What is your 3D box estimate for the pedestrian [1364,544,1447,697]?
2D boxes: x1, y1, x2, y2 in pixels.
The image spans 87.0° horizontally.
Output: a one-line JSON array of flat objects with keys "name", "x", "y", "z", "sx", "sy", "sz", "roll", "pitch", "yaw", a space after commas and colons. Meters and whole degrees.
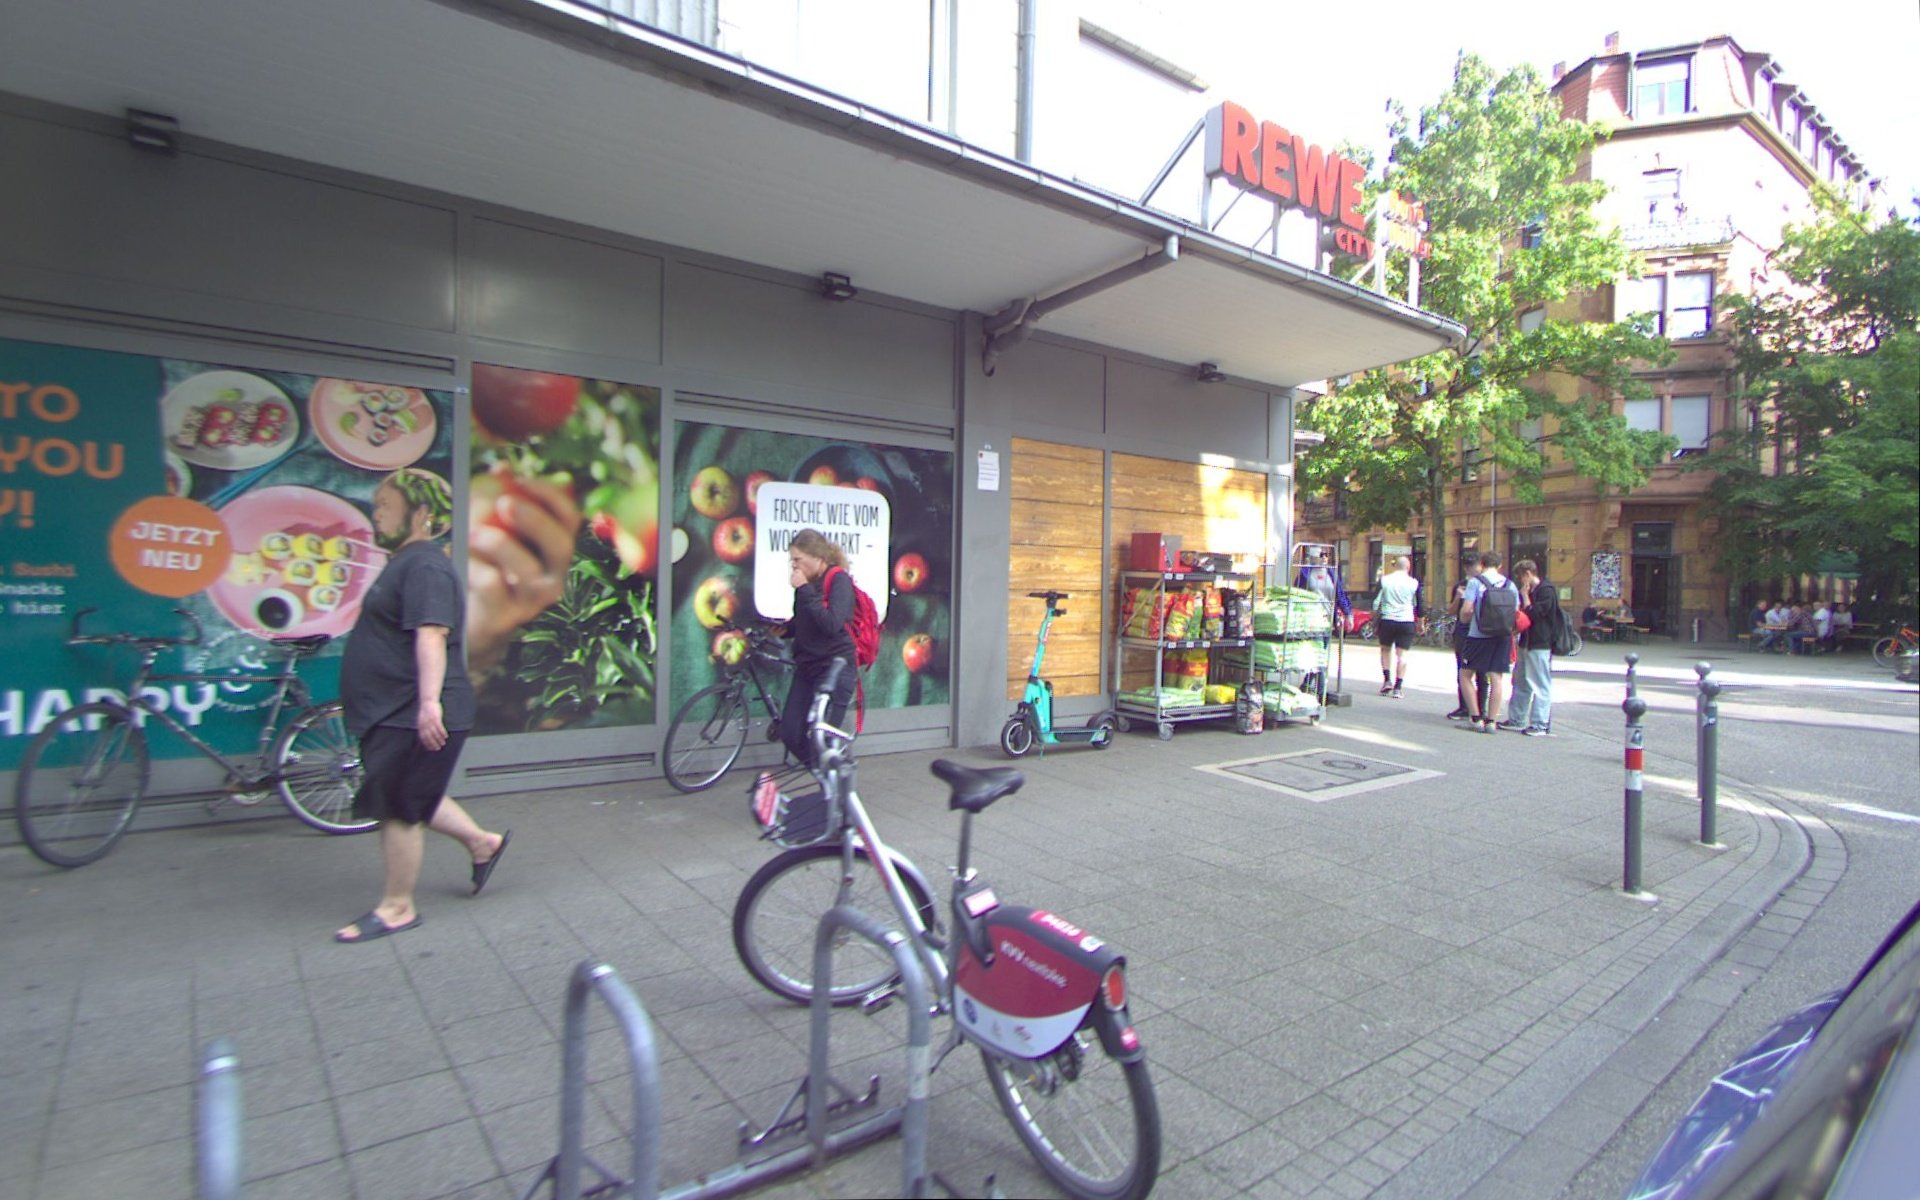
[{"name": "pedestrian", "x": 5.764, "y": 0.229, "z": 13.133, "sx": 0.877, "sy": 1.857, "sz": 1.039, "roll": 3, "pitch": 2, "yaw": 23}]

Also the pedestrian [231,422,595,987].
[{"name": "pedestrian", "x": -2.065, "y": 0.310, "z": 3.810, "sx": 1.030, "sy": 1.768, "sz": 0.851, "roll": 1, "pitch": 2, "yaw": -39}]

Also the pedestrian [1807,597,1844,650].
[{"name": "pedestrian", "x": 22.656, "y": 0.604, "z": 26.498, "sx": 0.726, "sy": 1.332, "sz": 0.599, "roll": 1, "pitch": 0, "yaw": 41}]

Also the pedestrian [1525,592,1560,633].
[{"name": "pedestrian", "x": 18.811, "y": 0.398, "z": 32.694, "sx": 0.753, "sy": 1.301, "sz": 0.630, "roll": -1, "pitch": 0, "yaw": -14}]

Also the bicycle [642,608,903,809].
[{"name": "bicycle", "x": -1.145, "y": 0.613, "z": 6.549, "sx": 0.673, "sy": 1.056, "sz": 1.714, "roll": 1, "pitch": 2, "yaw": 33}]

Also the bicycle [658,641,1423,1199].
[{"name": "bicycle", "x": 0.030, "y": 0.772, "z": 2.628, "sx": 0.891, "sy": 1.139, "sz": 1.888, "roll": 1, "pitch": 3, "yaw": -39}]

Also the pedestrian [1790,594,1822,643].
[{"name": "pedestrian", "x": 23.480, "y": 0.516, "z": 28.096, "sx": 0.544, "sy": 1.317, "sz": 0.615, "roll": 1, "pitch": 1, "yaw": 29}]

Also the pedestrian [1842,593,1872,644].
[{"name": "pedestrian", "x": 24.624, "y": 0.495, "z": 27.795, "sx": 0.463, "sy": 1.343, "sz": 0.615, "roll": 1, "pitch": 1, "yaw": 29}]

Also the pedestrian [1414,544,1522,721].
[{"name": "pedestrian", "x": 5.442, "y": 0.337, "z": 10.857, "sx": 0.645, "sy": 1.819, "sz": 0.657, "roll": 3, "pitch": 2, "yaw": -24}]

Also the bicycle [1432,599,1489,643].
[{"name": "bicycle", "x": 14.500, "y": 0.589, "z": 29.323, "sx": 1.676, "sy": 1.216, "sz": 0.449, "roll": -1, "pitch": 1, "yaw": -20}]

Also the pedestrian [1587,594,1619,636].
[{"name": "pedestrian", "x": 19.640, "y": 0.445, "z": 30.930, "sx": 0.629, "sy": 1.240, "sz": 0.512, "roll": -1, "pitch": 2, "yaw": -5}]

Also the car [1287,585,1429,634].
[{"name": "car", "x": 14.161, "y": 0.326, "z": 36.160, "sx": 4.226, "sy": 1.589, "sz": 2.009, "roll": -1, "pitch": 0, "yaw": -6}]

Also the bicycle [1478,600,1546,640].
[{"name": "bicycle", "x": 16.377, "y": 0.576, "z": 30.023, "sx": 1.763, "sy": 1.127, "sz": 0.601, "roll": -1, "pitch": 1, "yaw": -8}]

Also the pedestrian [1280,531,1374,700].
[{"name": "pedestrian", "x": 4.037, "y": 0.153, "z": 11.197, "sx": 0.752, "sy": 1.775, "sz": 0.929, "roll": 1, "pitch": 0, "yaw": 7}]

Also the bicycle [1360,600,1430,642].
[{"name": "bicycle", "x": 13.004, "y": 0.601, "z": 30.362, "sx": 0.570, "sy": 1.109, "sz": 2.505, "roll": -3, "pitch": 2, "yaw": -11}]

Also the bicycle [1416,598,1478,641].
[{"name": "bicycle", "x": 14.372, "y": 0.562, "z": 29.856, "sx": 1.677, "sy": 1.216, "sz": 0.449, "roll": -1, "pitch": 1, "yaw": -8}]

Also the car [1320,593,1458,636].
[{"name": "car", "x": 14.148, "y": 0.458, "z": 33.407, "sx": 4.026, "sy": 1.286, "sz": 1.571, "roll": -1, "pitch": 0, "yaw": -14}]

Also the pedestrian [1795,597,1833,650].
[{"name": "pedestrian", "x": 21.746, "y": 0.589, "z": 25.777, "sx": 0.726, "sy": 1.332, "sz": 0.513, "roll": 1, "pitch": 0, "yaw": 41}]

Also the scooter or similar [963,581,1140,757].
[{"name": "scooter or similar", "x": 0.718, "y": 0.494, "z": 7.824, "sx": 1.233, "sy": 1.228, "sz": 0.633, "roll": 1, "pitch": 2, "yaw": -40}]

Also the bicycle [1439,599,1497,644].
[{"name": "bicycle", "x": 14.467, "y": 0.602, "z": 28.829, "sx": 1.676, "sy": 1.216, "sz": 0.449, "roll": -1, "pitch": 1, "yaw": -20}]

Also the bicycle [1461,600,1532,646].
[{"name": "bicycle", "x": 14.604, "y": 0.622, "z": 27.576, "sx": 1.680, "sy": 1.216, "sz": 0.448, "roll": 0, "pitch": 1, "yaw": 1}]

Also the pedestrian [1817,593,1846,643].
[{"name": "pedestrian", "x": 24.492, "y": 0.499, "z": 28.456, "sx": 0.463, "sy": 1.343, "sz": 0.615, "roll": 1, "pitch": 1, "yaw": 29}]

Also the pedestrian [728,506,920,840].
[{"name": "pedestrian", "x": -0.744, "y": 0.345, "z": 5.493, "sx": 0.699, "sy": 1.652, "sz": 0.724, "roll": 1, "pitch": 2, "yaw": -39}]

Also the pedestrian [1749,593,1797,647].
[{"name": "pedestrian", "x": 21.565, "y": 0.522, "z": 26.847, "sx": 0.656, "sy": 1.396, "sz": 0.718, "roll": 0, "pitch": 1, "yaw": -2}]

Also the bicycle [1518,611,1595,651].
[{"name": "bicycle", "x": 15.115, "y": 0.782, "z": 25.654, "sx": 1.680, "sy": 0.981, "sz": 0.448, "roll": 0, "pitch": 1, "yaw": 1}]

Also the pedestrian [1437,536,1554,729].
[{"name": "pedestrian", "x": 5.298, "y": 0.302, "z": 10.056, "sx": 0.620, "sy": 1.819, "sz": 0.716, "roll": 3, "pitch": 2, "yaw": -4}]

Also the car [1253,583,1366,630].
[{"name": "car", "x": 13.380, "y": 0.272, "z": 38.854, "sx": 3.631, "sy": 1.743, "sz": 1.864, "roll": 0, "pitch": -1, "yaw": -11}]

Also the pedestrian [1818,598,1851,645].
[{"name": "pedestrian", "x": 23.912, "y": 0.578, "z": 27.684, "sx": 0.544, "sy": 1.247, "sz": 0.615, "roll": 1, "pitch": 1, "yaw": 29}]

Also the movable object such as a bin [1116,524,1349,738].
[{"name": "movable object such as a bin", "x": 2.574, "y": 0.249, "z": 9.376, "sx": 2.378, "sy": 1.766, "sz": 0.782, "roll": 0, "pitch": 1, "yaw": -37}]

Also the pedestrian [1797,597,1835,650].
[{"name": "pedestrian", "x": 22.108, "y": 0.594, "z": 26.137, "sx": 0.726, "sy": 1.332, "sz": 0.513, "roll": 1, "pitch": 0, "yaw": 41}]

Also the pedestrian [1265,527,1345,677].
[{"name": "pedestrian", "x": 4.937, "y": 0.019, "z": 14.545, "sx": 0.850, "sy": 2.039, "sz": 1.031, "roll": 3, "pitch": 1, "yaw": 11}]

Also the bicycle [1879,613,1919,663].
[{"name": "bicycle", "x": 21.262, "y": 0.851, "z": 21.956, "sx": 0.671, "sy": 1.048, "sz": 1.856, "roll": 1, "pitch": 1, "yaw": -37}]

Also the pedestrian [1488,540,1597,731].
[{"name": "pedestrian", "x": 5.872, "y": 0.334, "z": 10.240, "sx": 0.705, "sy": 1.819, "sz": 0.629, "roll": 4, "pitch": 2, "yaw": 18}]

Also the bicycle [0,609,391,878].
[{"name": "bicycle", "x": -3.660, "y": 0.579, "z": 4.622, "sx": 1.750, "sy": 1.027, "sz": 0.744, "roll": 0, "pitch": 3, "yaw": -38}]

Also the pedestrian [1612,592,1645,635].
[{"name": "pedestrian", "x": 20.418, "y": 0.416, "z": 30.907, "sx": 0.629, "sy": 1.274, "sz": 0.512, "roll": -1, "pitch": 2, "yaw": -5}]

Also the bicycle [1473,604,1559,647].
[{"name": "bicycle", "x": 14.820, "y": 0.685, "z": 26.994, "sx": 2.007, "sy": 1.102, "sz": 0.448, "roll": 0, "pitch": 1, "yaw": 1}]

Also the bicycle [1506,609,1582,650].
[{"name": "bicycle", "x": 15.060, "y": 0.756, "z": 26.107, "sx": 1.680, "sy": 0.999, "sz": 0.448, "roll": 0, "pitch": 1, "yaw": 1}]

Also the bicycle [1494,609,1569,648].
[{"name": "bicycle", "x": 14.979, "y": 0.744, "z": 26.542, "sx": 1.680, "sy": 0.999, "sz": 0.448, "roll": 0, "pitch": 1, "yaw": 1}]

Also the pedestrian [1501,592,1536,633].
[{"name": "pedestrian", "x": 18.486, "y": 0.401, "z": 33.520, "sx": 0.753, "sy": 1.301, "sz": 0.630, "roll": -1, "pitch": 0, "yaw": -14}]
